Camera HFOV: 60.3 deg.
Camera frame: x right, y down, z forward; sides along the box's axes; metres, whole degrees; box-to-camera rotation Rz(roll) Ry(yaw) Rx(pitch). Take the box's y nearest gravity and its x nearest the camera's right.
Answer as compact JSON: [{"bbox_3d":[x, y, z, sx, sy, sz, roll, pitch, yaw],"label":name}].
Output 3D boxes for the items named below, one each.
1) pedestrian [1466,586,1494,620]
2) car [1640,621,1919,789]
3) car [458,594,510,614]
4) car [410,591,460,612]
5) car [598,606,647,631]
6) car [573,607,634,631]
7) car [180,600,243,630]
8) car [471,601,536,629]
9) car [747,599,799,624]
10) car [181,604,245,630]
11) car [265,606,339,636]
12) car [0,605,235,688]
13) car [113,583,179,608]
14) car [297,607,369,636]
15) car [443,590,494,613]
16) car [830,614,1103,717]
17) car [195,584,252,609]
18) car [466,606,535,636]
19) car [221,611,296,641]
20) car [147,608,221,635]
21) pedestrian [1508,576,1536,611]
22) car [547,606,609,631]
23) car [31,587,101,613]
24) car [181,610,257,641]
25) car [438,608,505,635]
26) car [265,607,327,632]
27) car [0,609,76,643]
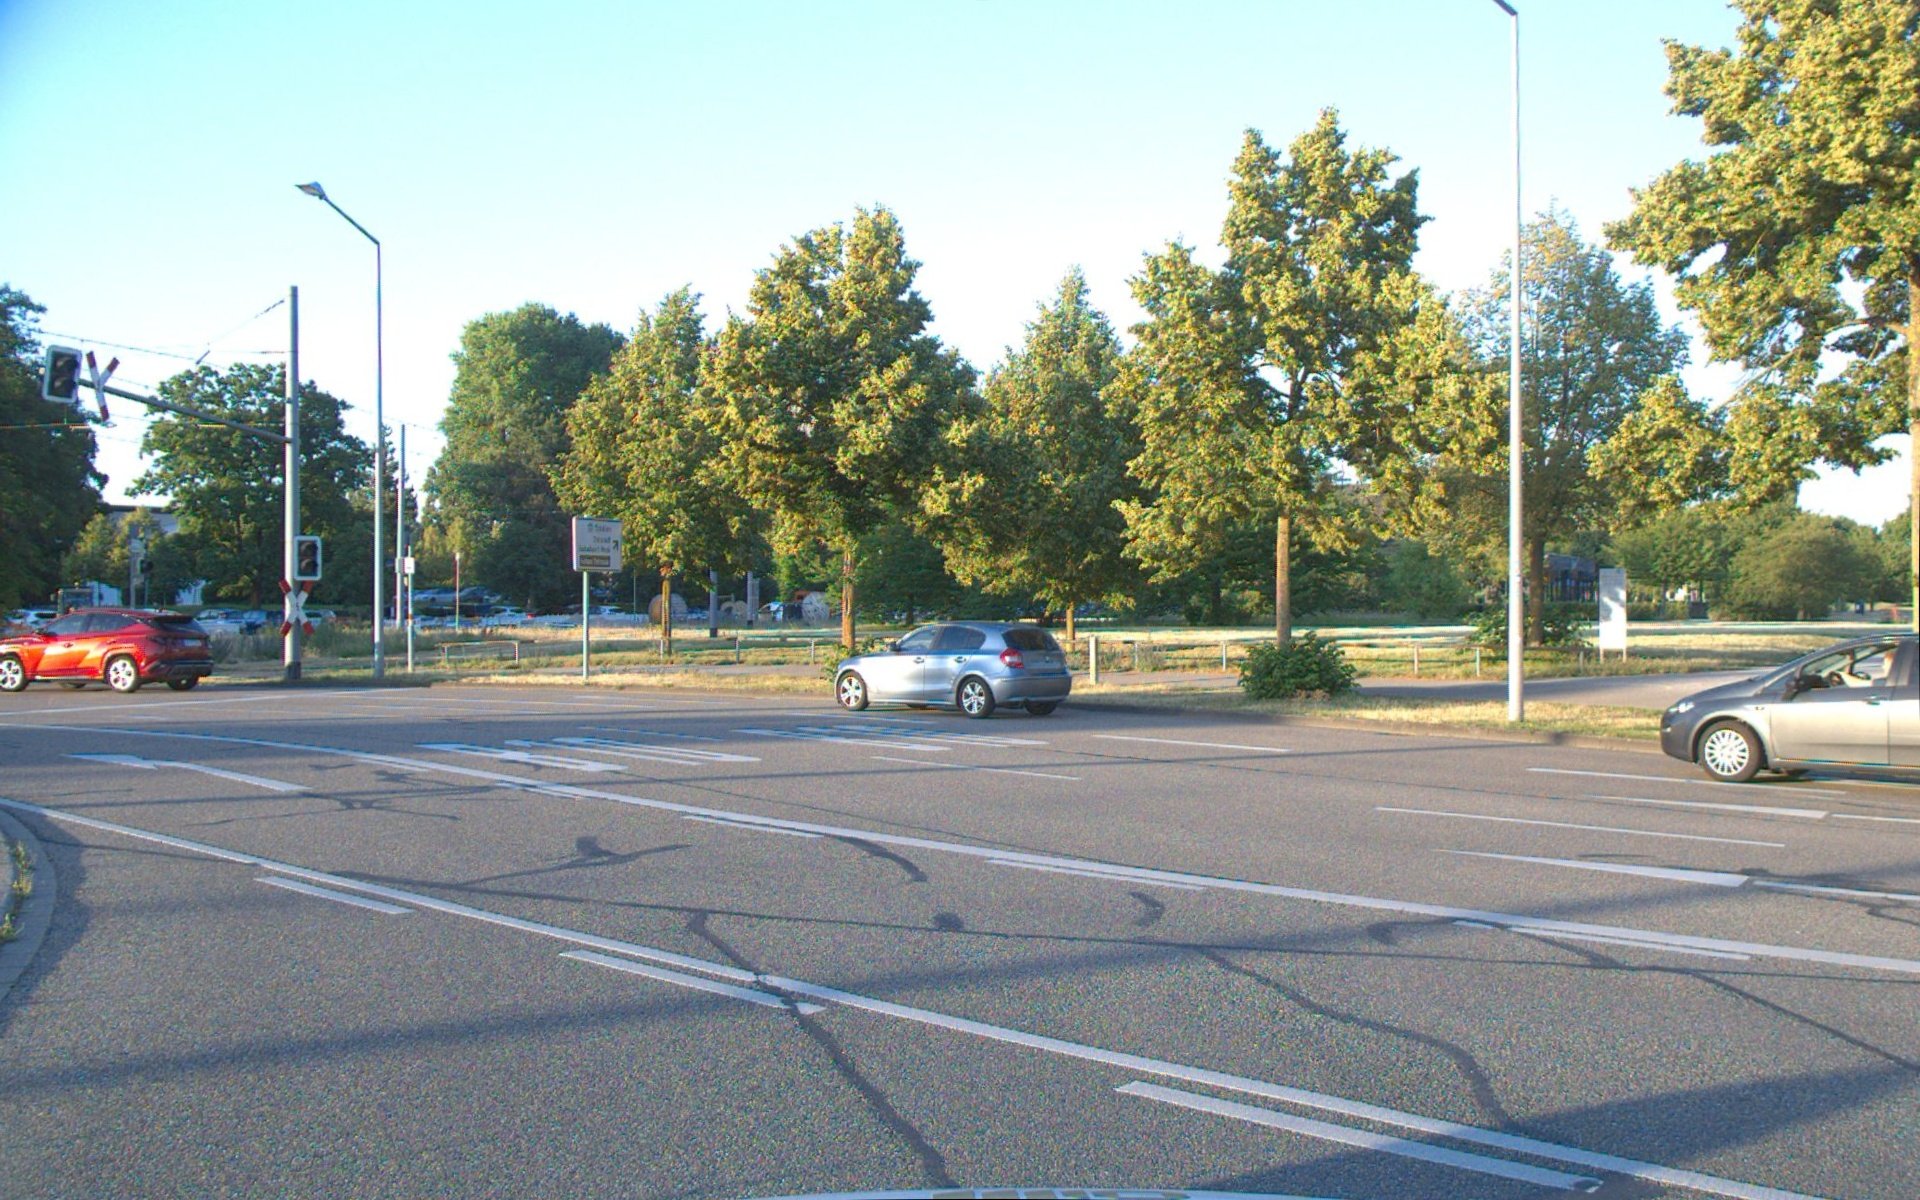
[{"bbox_3d":[24.912,0.137,79.248,1.047,1.646,0.911,0,0,2],"label":"pedestrian"},{"bbox_3d":[8.878,0.950,15.723,1.853,1.479,4.097,1,-1,-43],"label":"car"},{"bbox_3d":[-41.657,0.325,144.726,3.902,1.736,2.001,0,0,6],"label":"car"},{"bbox_3d":[-47.918,0.144,151.066,1.959,1.847,3.987,0,0,34],"label":"car"},{"bbox_3d":[-26.334,1.418,128.880,1.979,1.782,4.538,0,1,-37],"label":"car"},{"bbox_3d":[-24.872,1.345,115.424,3.915,1.632,1.995,0,0,32],"label":"car"},{"bbox_3d":[-52.585,1.061,116.208,3.939,2.049,1.983,0,0,-27],"label":"car"},{"bbox_3d":[-34.564,1.109,125.264,4.499,2.049,1.996,0,0,-9],"label":"car"},{"bbox_3d":[-12.974,0.782,114.671,1.724,1.646,3.940,0,0,-41],"label":"car"},{"bbox_3d":[-50.532,1.133,111.874,3.939,1.691,1.983,0,0,-27],"label":"car"},{"bbox_3d":[-37.362,1.188,93.872,3.915,1.632,1.995,0,0,32],"label":"car"},{"bbox_3d":[-17.221,0.917,33.486,4.307,1.601,2.002,0,0,12],"label":"car"},{"bbox_3d":[-67.087,-0.383,136.344,1.958,2.049,4.585,0,0,33],"label":"car"},{"bbox_3d":[-36.418,1.213,96.090,3.915,1.632,1.995,0,0,32],"label":"car"},{"bbox_3d":[-44.057,0.139,148.239,1.963,2.049,3.979,0,0,40],"label":"car"},{"bbox_3d":[0.038,0.940,25.535,4.091,1.414,1.856,0,0,44],"label":"car"},{"bbox_3d":[-63.344,-0.295,142.365,1.958,2.049,4.105,0,0,33],"label":"car"},{"bbox_3d":[-32.496,1.464,117.156,4.499,2.049,1.996,0,0,-9],"label":"car"},{"bbox_3d":[-39.063,1.416,92.046,3.915,1.632,1.995,0,0,32],"label":"car"},{"bbox_3d":[-50.203,1.394,107.087,1.863,1.691,3.987,0,0,34],"label":"car"},{"bbox_3d":[26.771,-0.302,78.820,1.047,1.646,0.911,0,0,2],"label":"pedestrian"},{"bbox_3d":[-26.241,1.259,113.675,3.915,1.632,1.995,0,0,32],"label":"car"},{"bbox_3d":[-70.503,0.005,130.470,1.956,2.049,4.590,0,0,29],"label":"car"},{"bbox_3d":[-40.505,1.384,90.378,3.915,1.632,1.995,0,0,32],"label":"car"},{"bbox_3d":[-30.949,1.345,104.686,3.915,1.632,1.995,0,0,32],"label":"car"},{"bbox_3d":[-45.788,1.344,114.114,3.933,1.691,1.889,0,0,-23],"label":"car"},{"bbox_3d":[-45.601,1.258,81.437,3.915,1.632,1.995,0,0,32],"label":"car"}]
